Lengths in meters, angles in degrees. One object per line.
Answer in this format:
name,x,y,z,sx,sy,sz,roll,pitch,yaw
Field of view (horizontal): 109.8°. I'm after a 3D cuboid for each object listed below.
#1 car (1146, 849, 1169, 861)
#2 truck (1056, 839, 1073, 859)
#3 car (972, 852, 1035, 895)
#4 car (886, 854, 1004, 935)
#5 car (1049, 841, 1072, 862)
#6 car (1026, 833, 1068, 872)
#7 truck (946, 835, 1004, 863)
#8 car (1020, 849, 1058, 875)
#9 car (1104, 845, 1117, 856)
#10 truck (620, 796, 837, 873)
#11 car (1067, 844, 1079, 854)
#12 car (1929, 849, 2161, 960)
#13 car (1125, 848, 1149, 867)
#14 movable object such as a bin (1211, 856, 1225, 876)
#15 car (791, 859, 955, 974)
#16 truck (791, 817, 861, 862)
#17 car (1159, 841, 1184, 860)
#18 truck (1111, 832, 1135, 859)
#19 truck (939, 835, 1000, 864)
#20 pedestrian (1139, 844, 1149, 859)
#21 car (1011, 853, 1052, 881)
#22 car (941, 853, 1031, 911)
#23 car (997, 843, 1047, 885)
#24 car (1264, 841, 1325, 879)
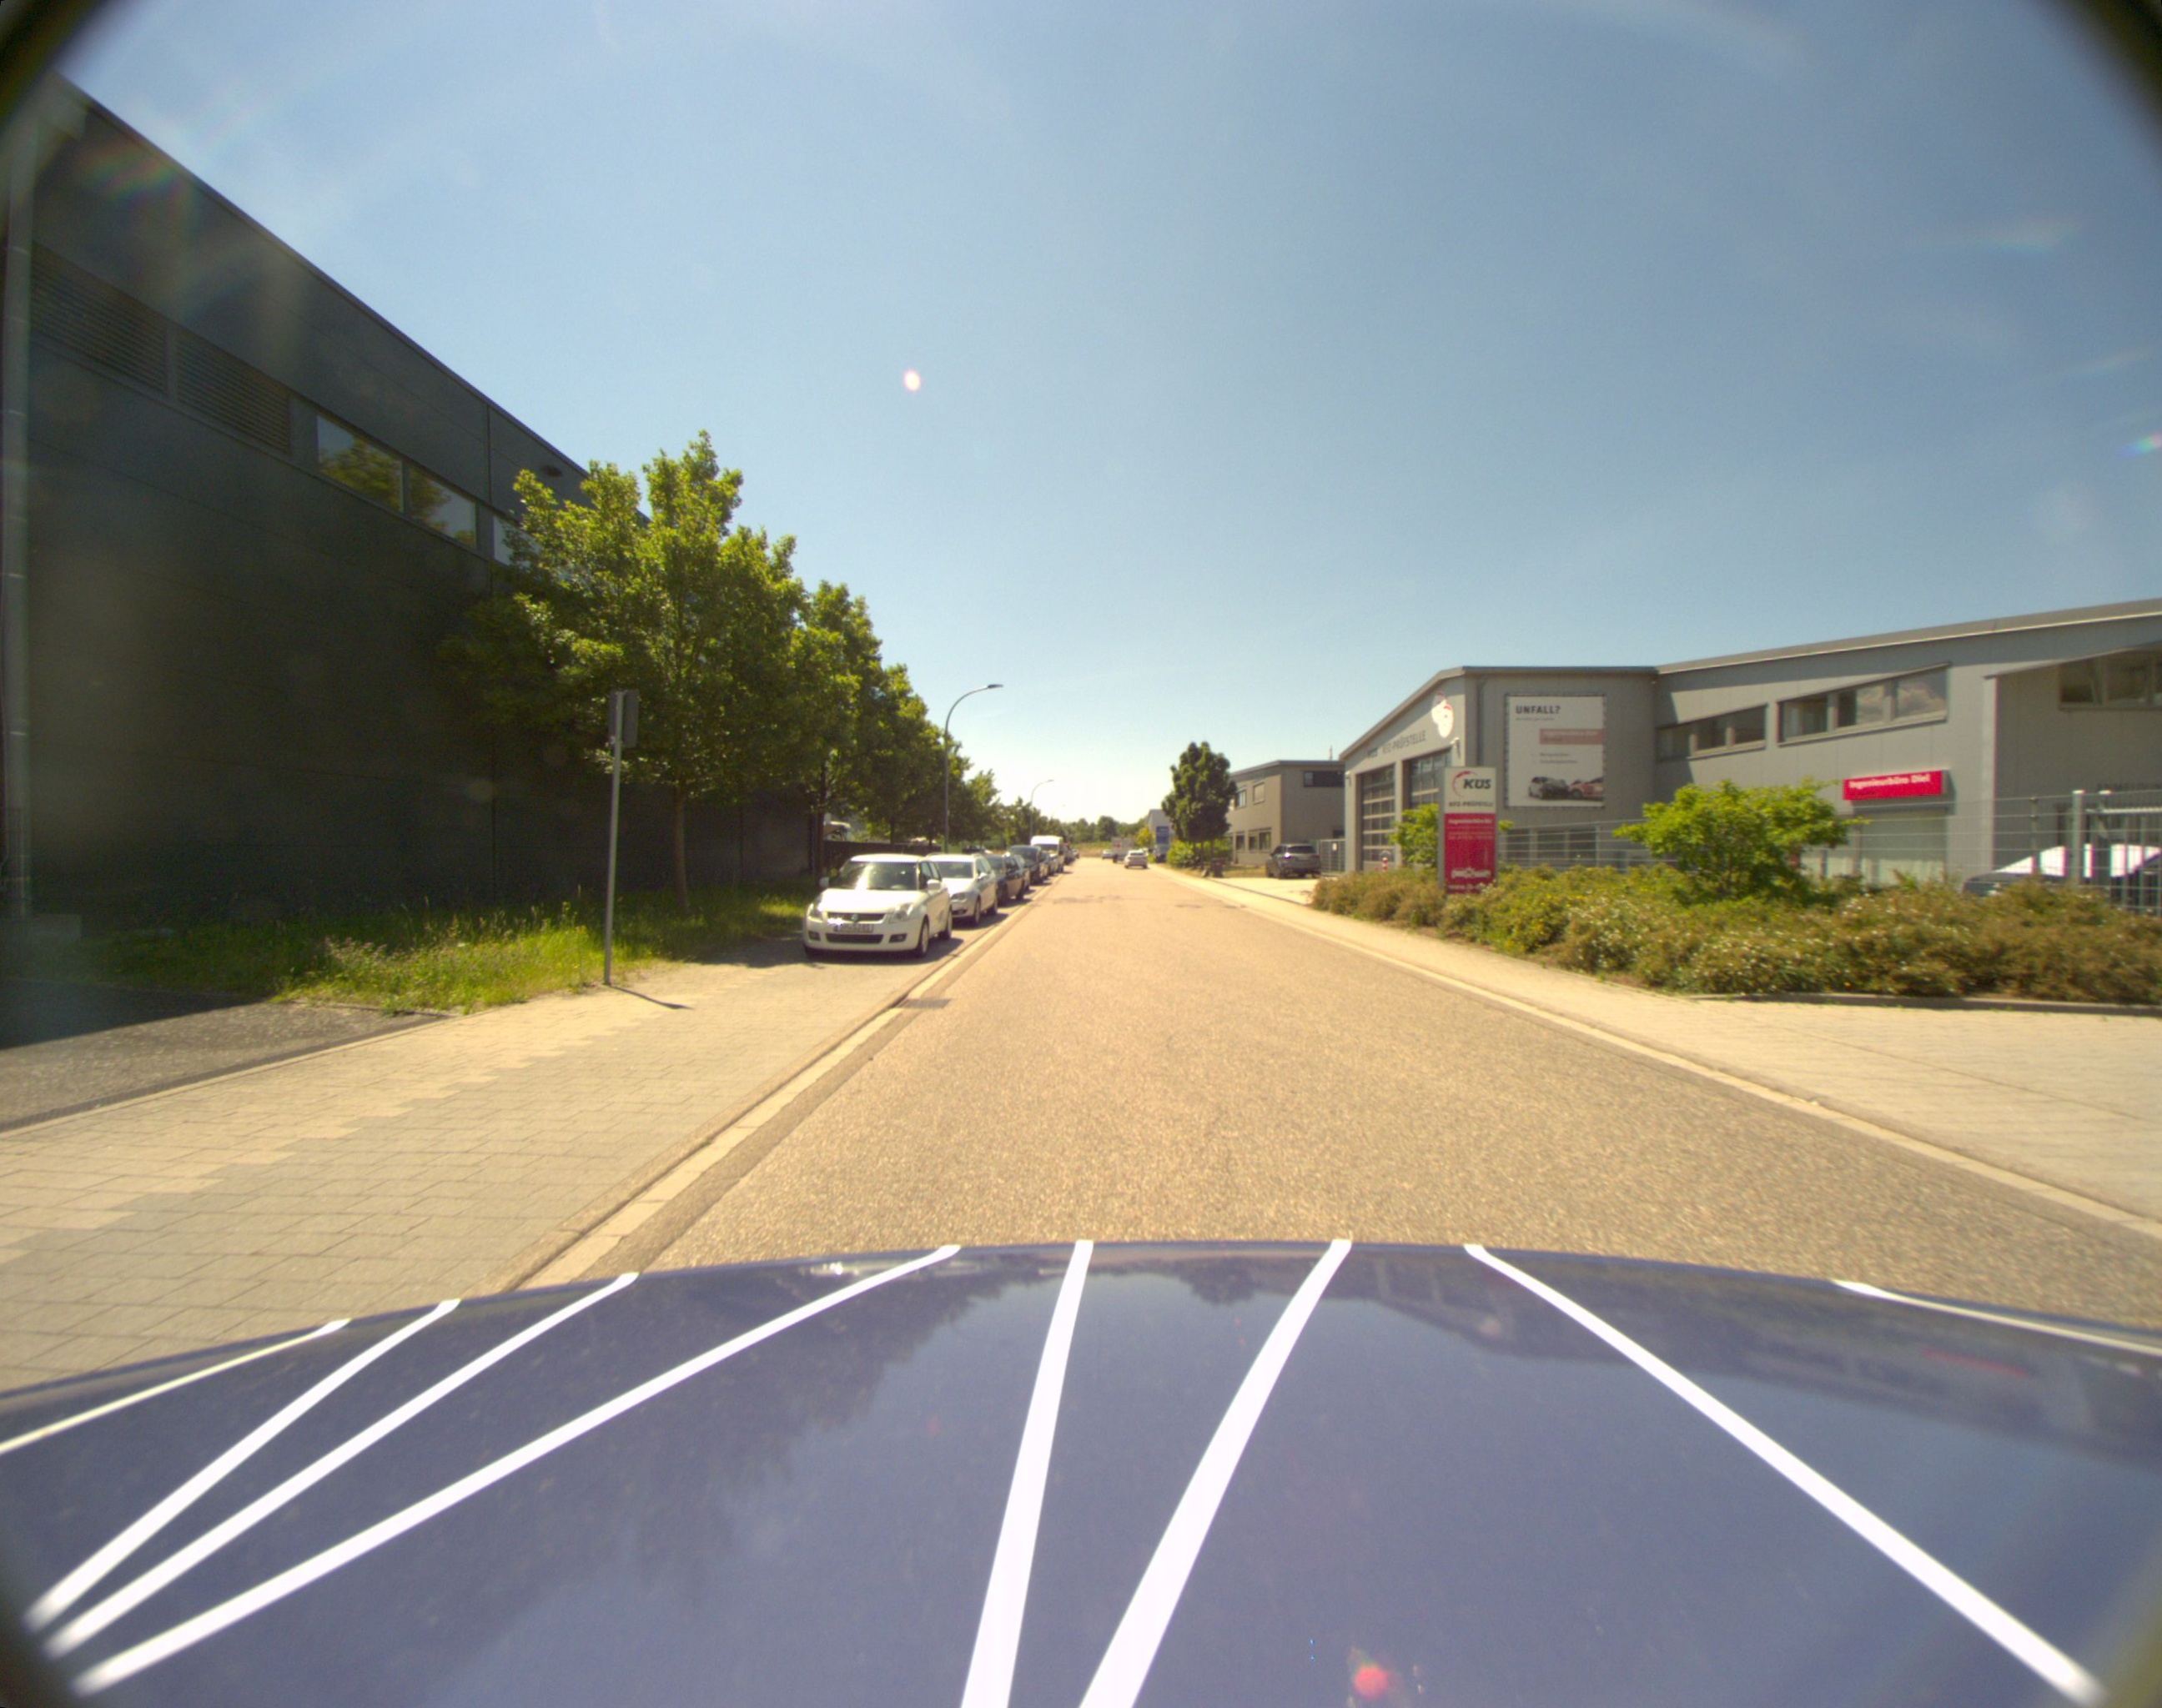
car,9.705,0.096,96.896,2.748,1.509,1.535,0,1,0
truck,-1.815,-0.585,84.613,1.683,2.169,4.389,2,1,1
car,-2.915,0.700,29.352,1.855,1.423,4.712,0,1,1
car,-2.917,0.798,17.314,1.752,1.553,4.506,1,0,2
car,-1.951,-0.292,73.580,1.998,1.874,5.155,1,1,1
car,-2.302,-0.146,53.062,2.273,2.483,6.152,1,1,3
truck,-11.426,-0.549,82.155,5.918,2.855,2.305,0,1,-2
car,-2.506,0.479,46.576,1.833,1.485,4.478,1,0,3
car,4.176,-0.470,107.884,1.787,1.414,4.413,-1,1,3
truck,-18.439,-0.990,40.433,10.011,3.800,3.034,1,1,-9
car,-1.327,-0.849,130.118,1.809,1.626,4.458,2,0,1
car,15.460,0.706,11.564,3.510,1.543,1.557,0,1,-4
car,4.565,0.239,62.692,1.734,1.450,4.491,0,1,1
movable object such as a bin,7.403,0.643,41.000,0.580,1.059,0.765,-2,1,1
car,-3.091,0.847,12.018,1.640,1.460,3.745,1,0,-2
truck,-22.237,-1.251,66.430,5.075,3.854,2.803,0,2,1
car,9.294,-0.382,78.011,1.998,1.945,5.217,0,1,1
truck,4.591,-0.952,84.198,2.367,2.844,6.414,2,1,1
truck,-11.349,-0.487,77.572,5.836,2.896,2.414,0,1,0
pedestrian,6.672,-0.228,80.436,0.901,1.565,0.785,-2,1,2
car,-2.621,0.659,40.897,1.715,1.280,4.114,0,2,3
car,-2.770,0.772,23.188,1.712,1.496,4.707,1,1,6
car,-2.706,0.431,35.843,1.998,1.815,4.353,0,1,1
car,10.722,0.293,38.478,1.998,1.725,4.914,-1,0,5
